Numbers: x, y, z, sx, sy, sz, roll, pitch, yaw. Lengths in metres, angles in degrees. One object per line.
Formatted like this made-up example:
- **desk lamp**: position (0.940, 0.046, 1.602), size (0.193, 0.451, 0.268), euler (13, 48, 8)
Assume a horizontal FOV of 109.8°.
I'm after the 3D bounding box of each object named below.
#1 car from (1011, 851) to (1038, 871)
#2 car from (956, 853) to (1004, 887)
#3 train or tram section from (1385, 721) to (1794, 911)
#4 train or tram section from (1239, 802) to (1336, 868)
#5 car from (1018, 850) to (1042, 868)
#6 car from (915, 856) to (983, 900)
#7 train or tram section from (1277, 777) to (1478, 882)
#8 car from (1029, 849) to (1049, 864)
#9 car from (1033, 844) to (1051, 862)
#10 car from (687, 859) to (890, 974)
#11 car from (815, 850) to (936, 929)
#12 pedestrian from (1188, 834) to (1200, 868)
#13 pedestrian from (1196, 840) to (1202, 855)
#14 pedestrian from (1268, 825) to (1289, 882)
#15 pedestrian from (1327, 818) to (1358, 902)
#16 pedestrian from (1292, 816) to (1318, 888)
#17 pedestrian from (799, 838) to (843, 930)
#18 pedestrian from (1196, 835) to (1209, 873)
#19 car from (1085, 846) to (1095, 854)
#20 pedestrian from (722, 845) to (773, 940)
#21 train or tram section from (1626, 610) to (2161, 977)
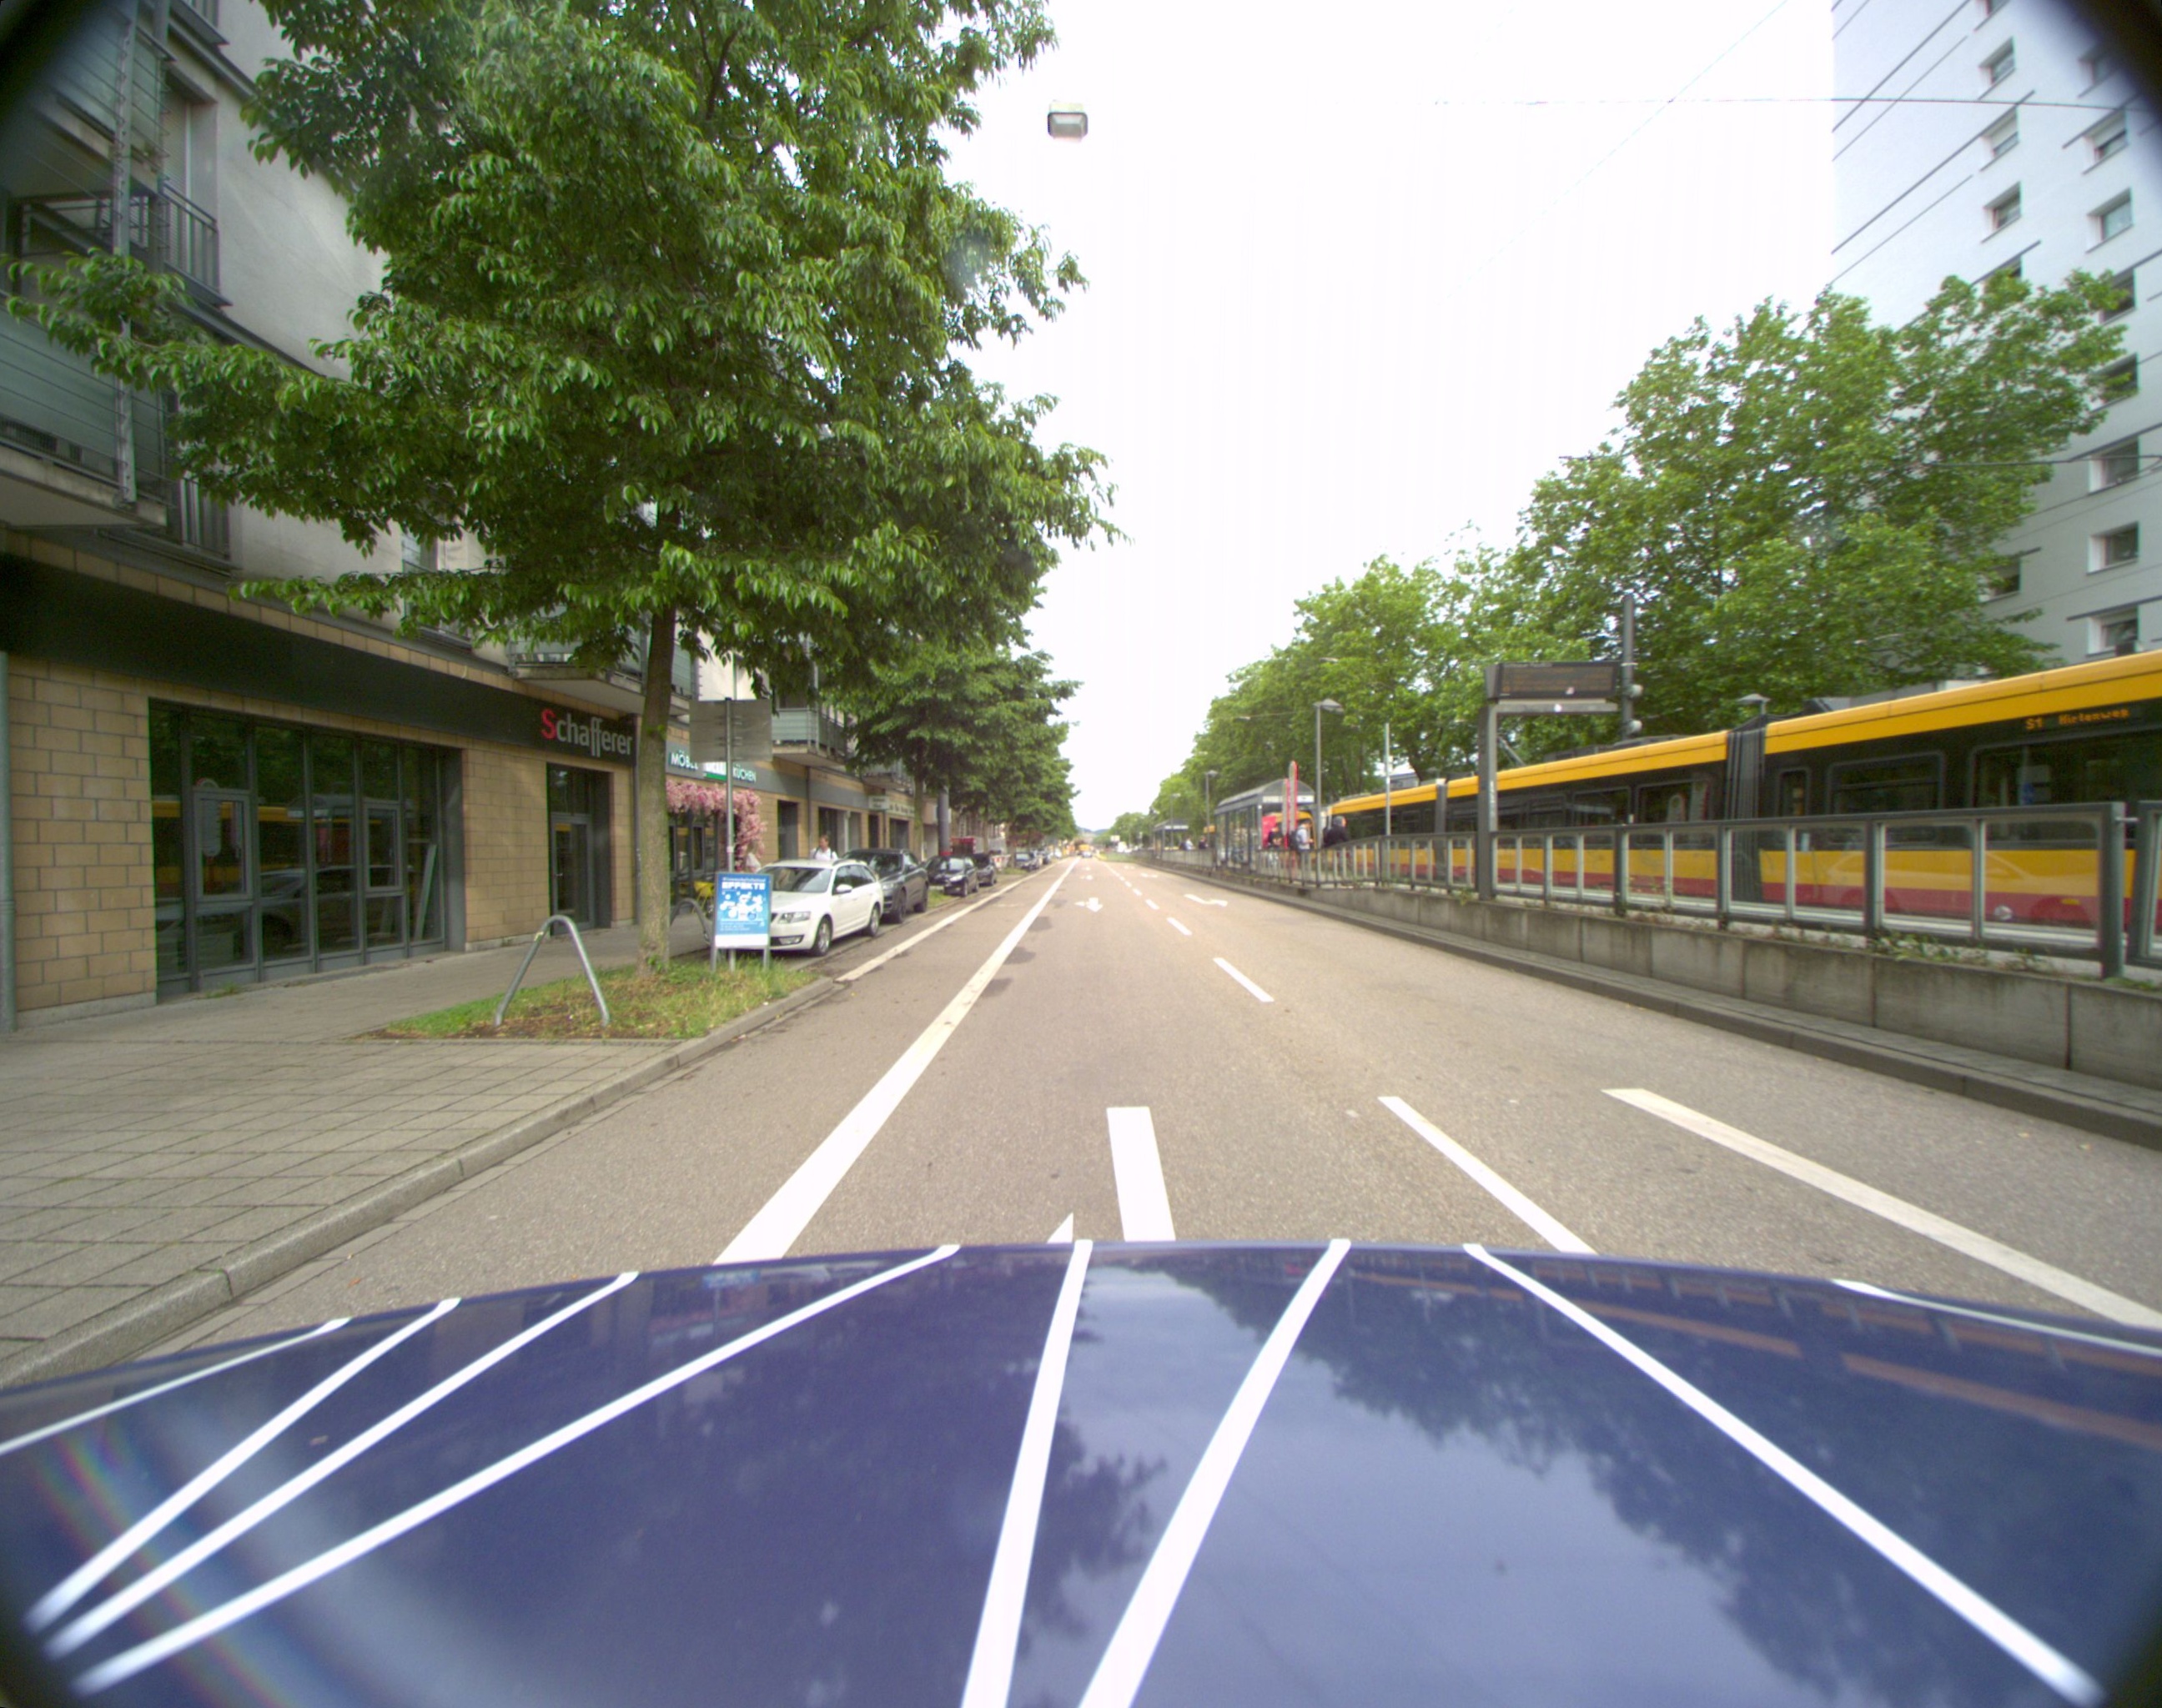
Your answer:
- **car**: position (-4.134, 0.488, 56.266), size (1.612, 1.393, 3.667), euler (2, 1, 1)
- **car**: position (-4.562, 0.692, 34.743), size (1.612, 1.393, 3.667), euler (2, 1, 1)
- **train or tram section**: position (12.856, -0.835, 21.714), size (3.338, 3.731, 12.547), euler (-2, 1, 1)
- **train or tram section**: position (13.201, -1.162, 49.806), size (3.338, 3.731, 11.042), euler (-2, 1, 1)
- **car**: position (-4.131, 0.372, 62.170), size (1.612, 1.393, 3.667), euler (2, 1, 1)
- **car**: position (-4.643, 0.801, 27.282), size (1.612, 1.369, 4.167), euler (2, 1, 1)
- **train or tram section**: position (13.022, -1.002, 36.137), size (3.338, 3.731, 16.247), euler (-2, 1, 1)
- **car**: position (-3.977, 0.217, 72.457), size (1.612, 1.393, 3.667), euler (2, 1, 1)
- **car**: position (-3.971, -0.132, 78.227), size (1.612, 1.674, 3.806), euler (2, 1, 1)
- **car**: position (-4.724, 0.908, 13.007), size (1.738, 1.512, 4.308), euler (2, 1, 1)
- **car**: position (-4.721, 0.748, 18.010), size (1.738, 1.601, 3.798), euler (2, 1, 1)
- **pedestrian**: position (6.134, -0.171, 41.346), size (0.530, 1.794, 0.606), euler (-2, 1, 14)
- **pedestrian**: position (16.005, -0.858, 102.785), size (0.719, 2.002, 0.756), euler (-1, 1, 1)
- **pedestrian**: position (6.307, -0.022, 24.206), size (0.474, 1.794, 0.606), euler (-2, 1, 26)
- **pedestrian**: position (5.701, 0.126, 16.586), size (0.521, 1.794, 0.605), euler (-2, 1, 13)
- **pedestrian**: position (5.749, -0.058, 19.554), size (0.475, 1.794, 0.605), euler (-2, 1, 5)
- **pedestrian**: position (-5.366, 0.608, 15.724), size (0.656, 1.873, 0.599), euler (-1, 1, 1)
- **pedestrian**: position (5.841, 0.006, 36.530), size (0.530, 1.794, 0.606), euler (-2, 1, 14)
- **car**: position (1.690, -0.666, 138.684), size (1.716, 1.379, 4.099), euler (-2, 1, 1)
- **pedestrian**: position (-6.189, 0.685, 14.116), size (0.740, 1.707, 0.616), euler (-1, 2, -37)
- **train or tram section**: position (12.666, -0.672, 7.805), size (3.338, 3.731, 15.201), euler (-2, 1, 1)
